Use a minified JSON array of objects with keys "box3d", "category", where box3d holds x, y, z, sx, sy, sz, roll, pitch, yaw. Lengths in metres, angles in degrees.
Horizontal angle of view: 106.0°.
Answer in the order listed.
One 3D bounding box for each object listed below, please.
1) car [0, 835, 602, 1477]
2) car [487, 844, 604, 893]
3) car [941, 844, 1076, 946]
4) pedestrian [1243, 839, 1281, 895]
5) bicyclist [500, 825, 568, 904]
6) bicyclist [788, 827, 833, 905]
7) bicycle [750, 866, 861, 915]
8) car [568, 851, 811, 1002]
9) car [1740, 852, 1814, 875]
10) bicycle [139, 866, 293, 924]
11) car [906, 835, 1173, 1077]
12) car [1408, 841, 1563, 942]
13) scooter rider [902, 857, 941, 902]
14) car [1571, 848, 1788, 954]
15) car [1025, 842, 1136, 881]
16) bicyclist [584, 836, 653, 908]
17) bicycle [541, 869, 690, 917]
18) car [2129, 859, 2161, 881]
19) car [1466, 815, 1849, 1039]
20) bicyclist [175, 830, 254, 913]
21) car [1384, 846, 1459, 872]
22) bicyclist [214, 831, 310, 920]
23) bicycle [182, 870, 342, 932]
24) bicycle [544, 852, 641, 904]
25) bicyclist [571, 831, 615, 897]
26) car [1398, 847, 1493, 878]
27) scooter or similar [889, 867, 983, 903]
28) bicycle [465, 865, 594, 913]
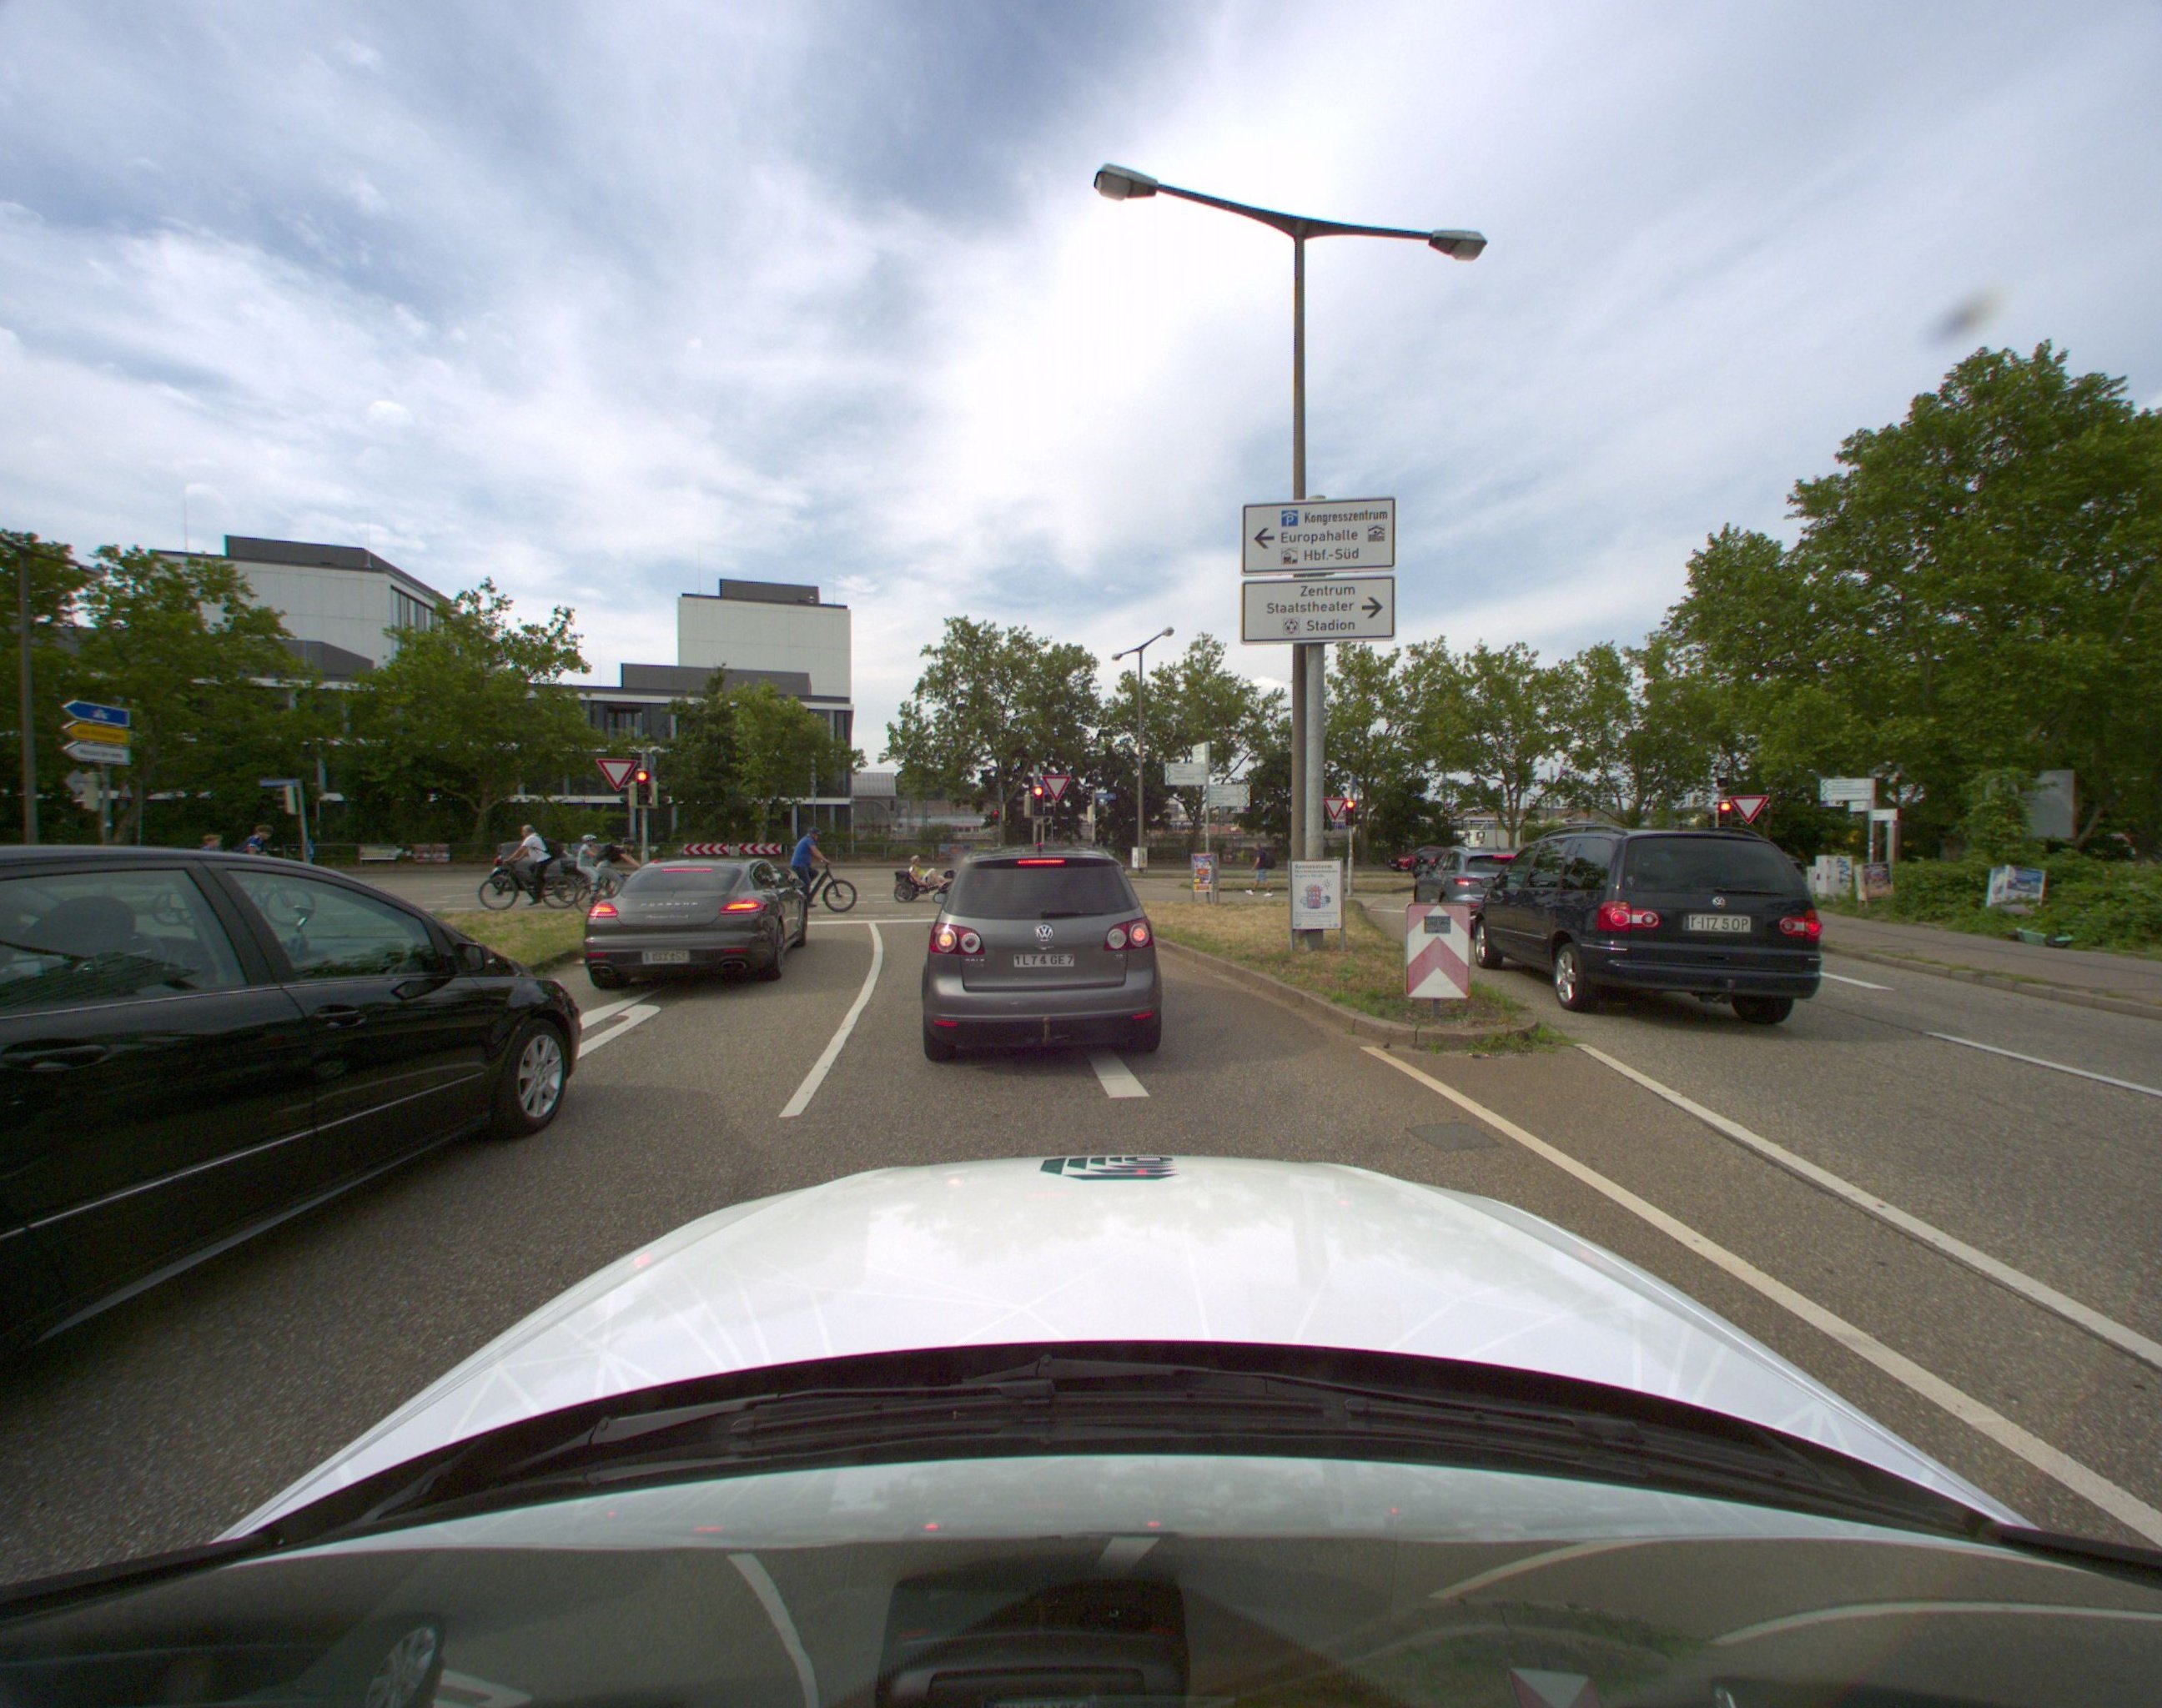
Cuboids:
[{"box3d":[-3.654,0.727,2.962,1.755,1.575,4.028,0,1,-6],"category":"car"},{"box3d":[-16.526,0.414,25.244,2.719,1.422,1.490,-1,0,-19],"category":"car"},{"box3d":[-1.396,0.596,14.106,1.743,1.482,4.063,-1,0,-14],"category":"car"},{"box3d":[5.712,0.395,25.695,1.038,1.710,0.858,1,1,19],"category":"pedestrian"},{"box3d":[-12.091,0.216,18.045,1.117,1.696,0.806,-1,0,-25],"category":"bicyclist"},{"box3d":[-5.889,0.251,17.747,0.883,1.656,0.807,-1,0,-17],"category":"bicyclist"},{"box3d":[-5.960,0.776,17.715,2.233,0.952,0.807,-1,0,-17],"category":"bicycle"},{"box3d":[-4.634,0.694,10.428,1.821,1.414,4.754,0,1,-13],"category":"car"},{"box3d":[47.875,0.619,56.050,4.336,1.448,1.752,-1,0,-15],"category":"car"},{"box3d":[-16.499,0.760,15.598,1.911,1.013,0.623,-1,1,-26],"category":"bicycle"},{"box3d":[-0.463,0.644,7.361,1.739,1.546,4.073,-1,0,-6],"category":"car"},{"box3d":[7.388,0.606,15.298,1.679,1.585,4.171,2,0,13],"category":"car"},{"box3d":[-4.164,0.661,21.319,0.913,1.137,0.807,0,1,-7],"category":"scooter rider"},{"box3d":[10.889,0.750,15.210,1.738,1.643,4.152,2,0,13],"category":"car"},{"box3d":[-0.030,0.279,31.885,4.067,1.450,1.693,-1,0,-17],"category":"car"},{"box3d":[-9.627,0.354,16.999,1.117,1.436,0.644,-1,1,-19],"category":"bicyclist"},{"box3d":[-9.638,0.791,16.995,2.591,0.890,0.700,-1,1,-19],"category":"bicycle"},{"box3d":[89.698,1.284,67.673,3.993,1.723,1.802,-1,0,-15],"category":"car"},{"box3d":[5.572,0.569,8.600,1.739,1.724,4.151,2,0,11],"category":"car"},{"box3d":[-16.538,0.314,15.570,0.843,1.529,0.623,-1,1,-26],"category":"bicyclist"},{"box3d":[20.085,0.257,48.061,3.963,1.448,1.692,-1,0,-19],"category":"car"},{"box3d":[-14.659,0.368,14.605,1.020,1.539,0.624,-1,1,-23],"category":"bicyclist"},{"box3d":[-14.640,0.817,14.630,1.909,1.013,0.624,-1,1,-23],"category":"bicycle"},{"box3d":[-11.902,0.571,19.913,1.906,1.210,0.639,-1,1,-18],"category":"bicycle"},{"box3d":[-11.911,0.237,19.892,0.781,1.581,0.651,-1,1,-18],"category":"bicyclist"},{"box3d":[16.899,0.366,37.747,4.075,1.368,1.690,-1,0,-23],"category":"car"},{"box3d":[-3.772,0.799,21.363,2.376,0.849,0.807,0,1,-7],"category":"scooter or similar"},{"box3d":[-12.132,0.747,18.025,2.239,0.952,0.805,-1,0,-25],"category":"bicycle"}]
